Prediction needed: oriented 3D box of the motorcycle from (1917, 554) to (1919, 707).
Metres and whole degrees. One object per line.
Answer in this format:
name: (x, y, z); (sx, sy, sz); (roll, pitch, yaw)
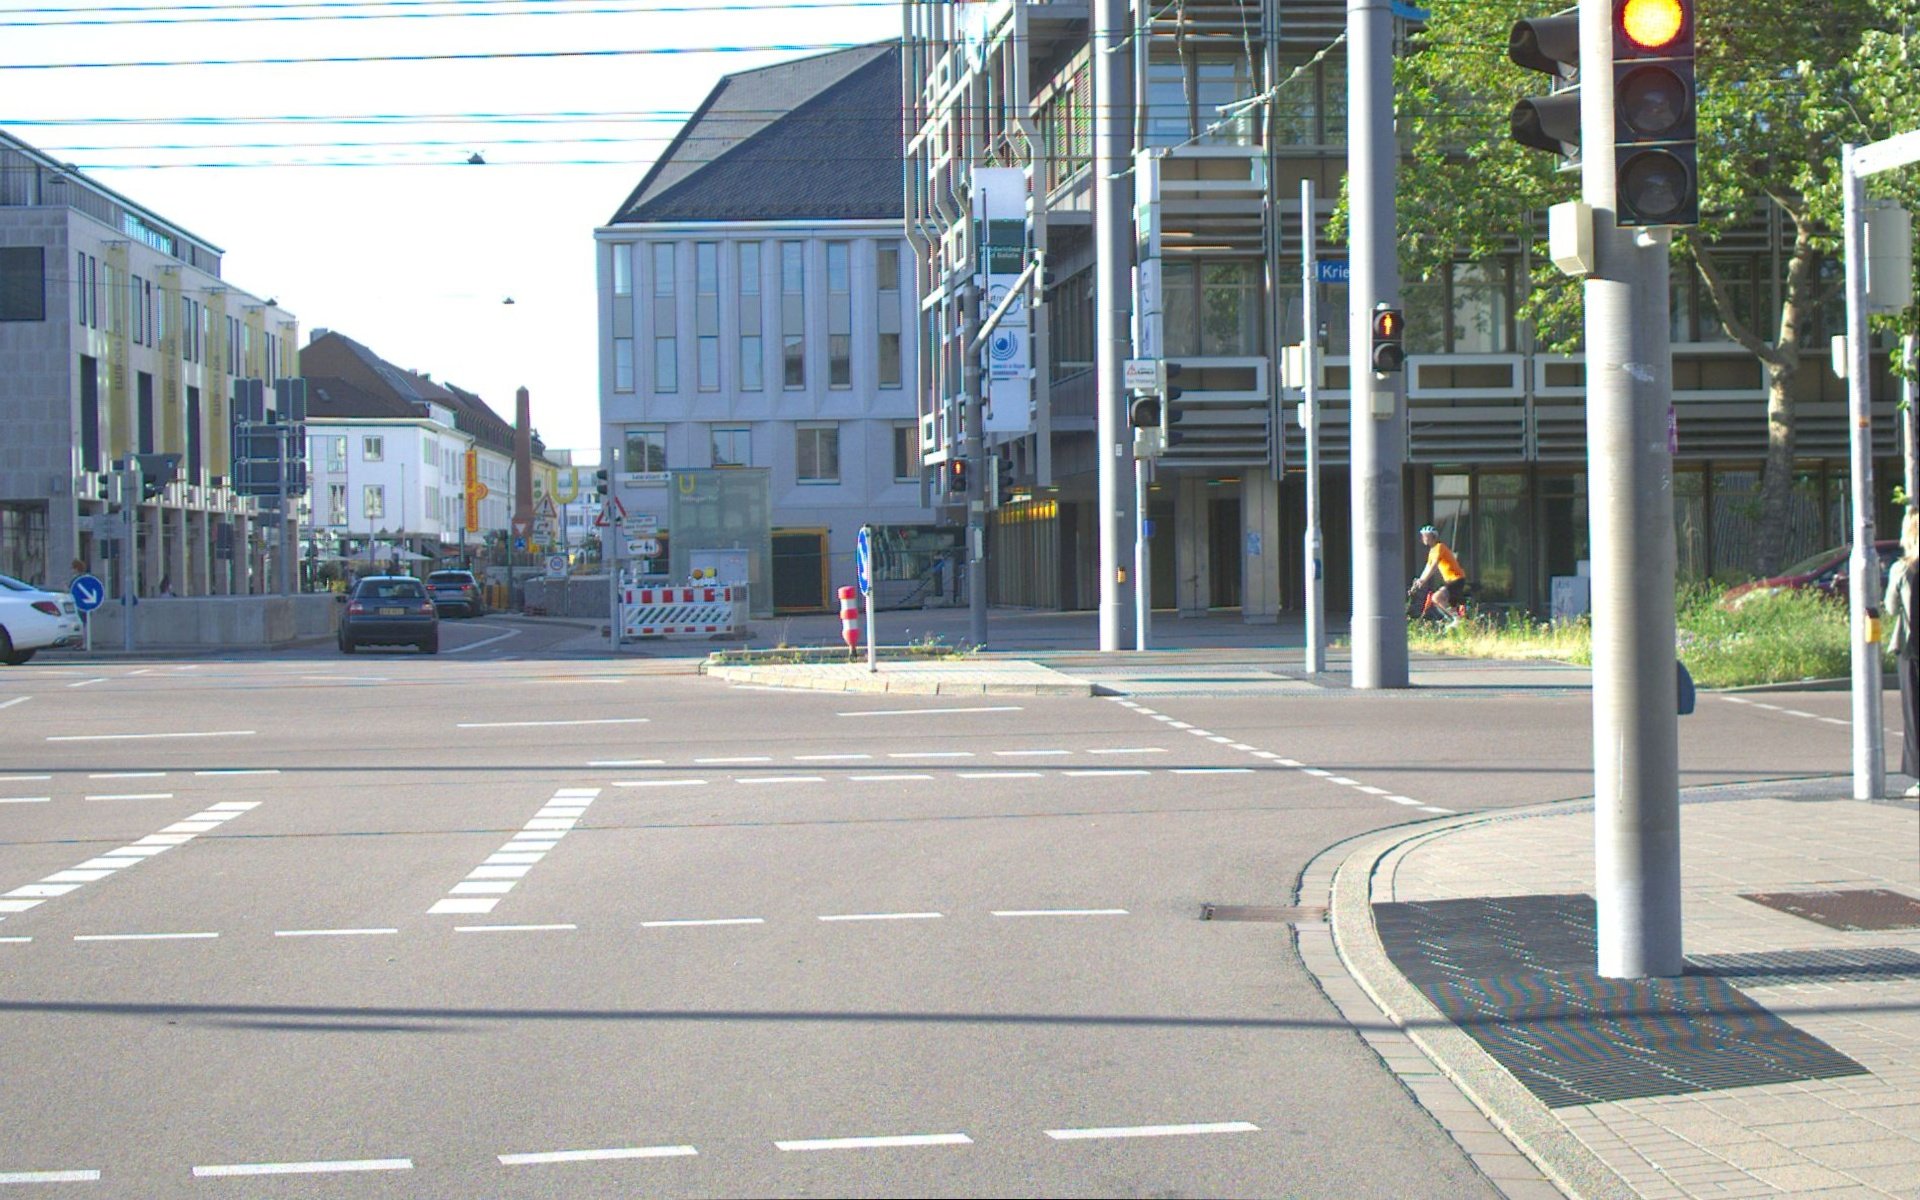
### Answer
motorcycle: (8.846, 0.232, 26.798); (2.594, 1.204, 0.730); (-1, 2, -9)

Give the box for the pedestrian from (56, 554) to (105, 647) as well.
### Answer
pedestrian: (-16.138, 0.011, 63.085); (0.700, 1.682, 0.619); (-1, 1, 0)

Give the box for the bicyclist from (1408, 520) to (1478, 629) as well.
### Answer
bicyclist: (6.619, -0.357, 47.130); (0.822, 1.469, 0.652); (-1, 1, -4)

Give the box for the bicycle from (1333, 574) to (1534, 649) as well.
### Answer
bicycle: (6.478, 0.152, 47.121); (2.568, 0.972, 1.047); (-1, 1, -3)

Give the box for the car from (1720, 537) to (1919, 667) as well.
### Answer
car: (12.662, -0.004, 46.470); (4.287, 1.678, 1.826); (-1, 1, -11)

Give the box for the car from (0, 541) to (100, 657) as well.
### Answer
car: (-15.378, -0.009, 50.833); (4.844, 1.678, 1.825); (-1, 1, -1)

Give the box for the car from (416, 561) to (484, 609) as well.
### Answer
car: (-16.015, -0.482, 108.082); (1.658, 1.453, 3.542); (-1, 1, -1)

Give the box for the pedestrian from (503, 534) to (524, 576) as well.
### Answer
pedestrian: (-21.392, -2.160, 164.689); (0.910, 1.958, 0.823); (1, 0, -1)

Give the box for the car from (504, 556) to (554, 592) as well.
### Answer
car: (-18.283, -1.106, 145.951); (1.658, 1.453, 3.542); (-1, 1, -1)

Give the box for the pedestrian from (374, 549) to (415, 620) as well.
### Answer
pedestrian: (-14.440, -0.399, 87.850); (0.899, 1.776, 0.808); (-1, 1, -1)

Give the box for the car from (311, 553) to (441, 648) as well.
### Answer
car: (-10.824, -0.022, 63.519); (1.819, 1.678, 4.001); (-1, 1, -17)

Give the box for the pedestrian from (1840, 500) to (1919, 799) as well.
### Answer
pedestrian: (5.366, 0.258, 18.952); (0.765, 1.608, 0.874); (-1, 1, -2)
